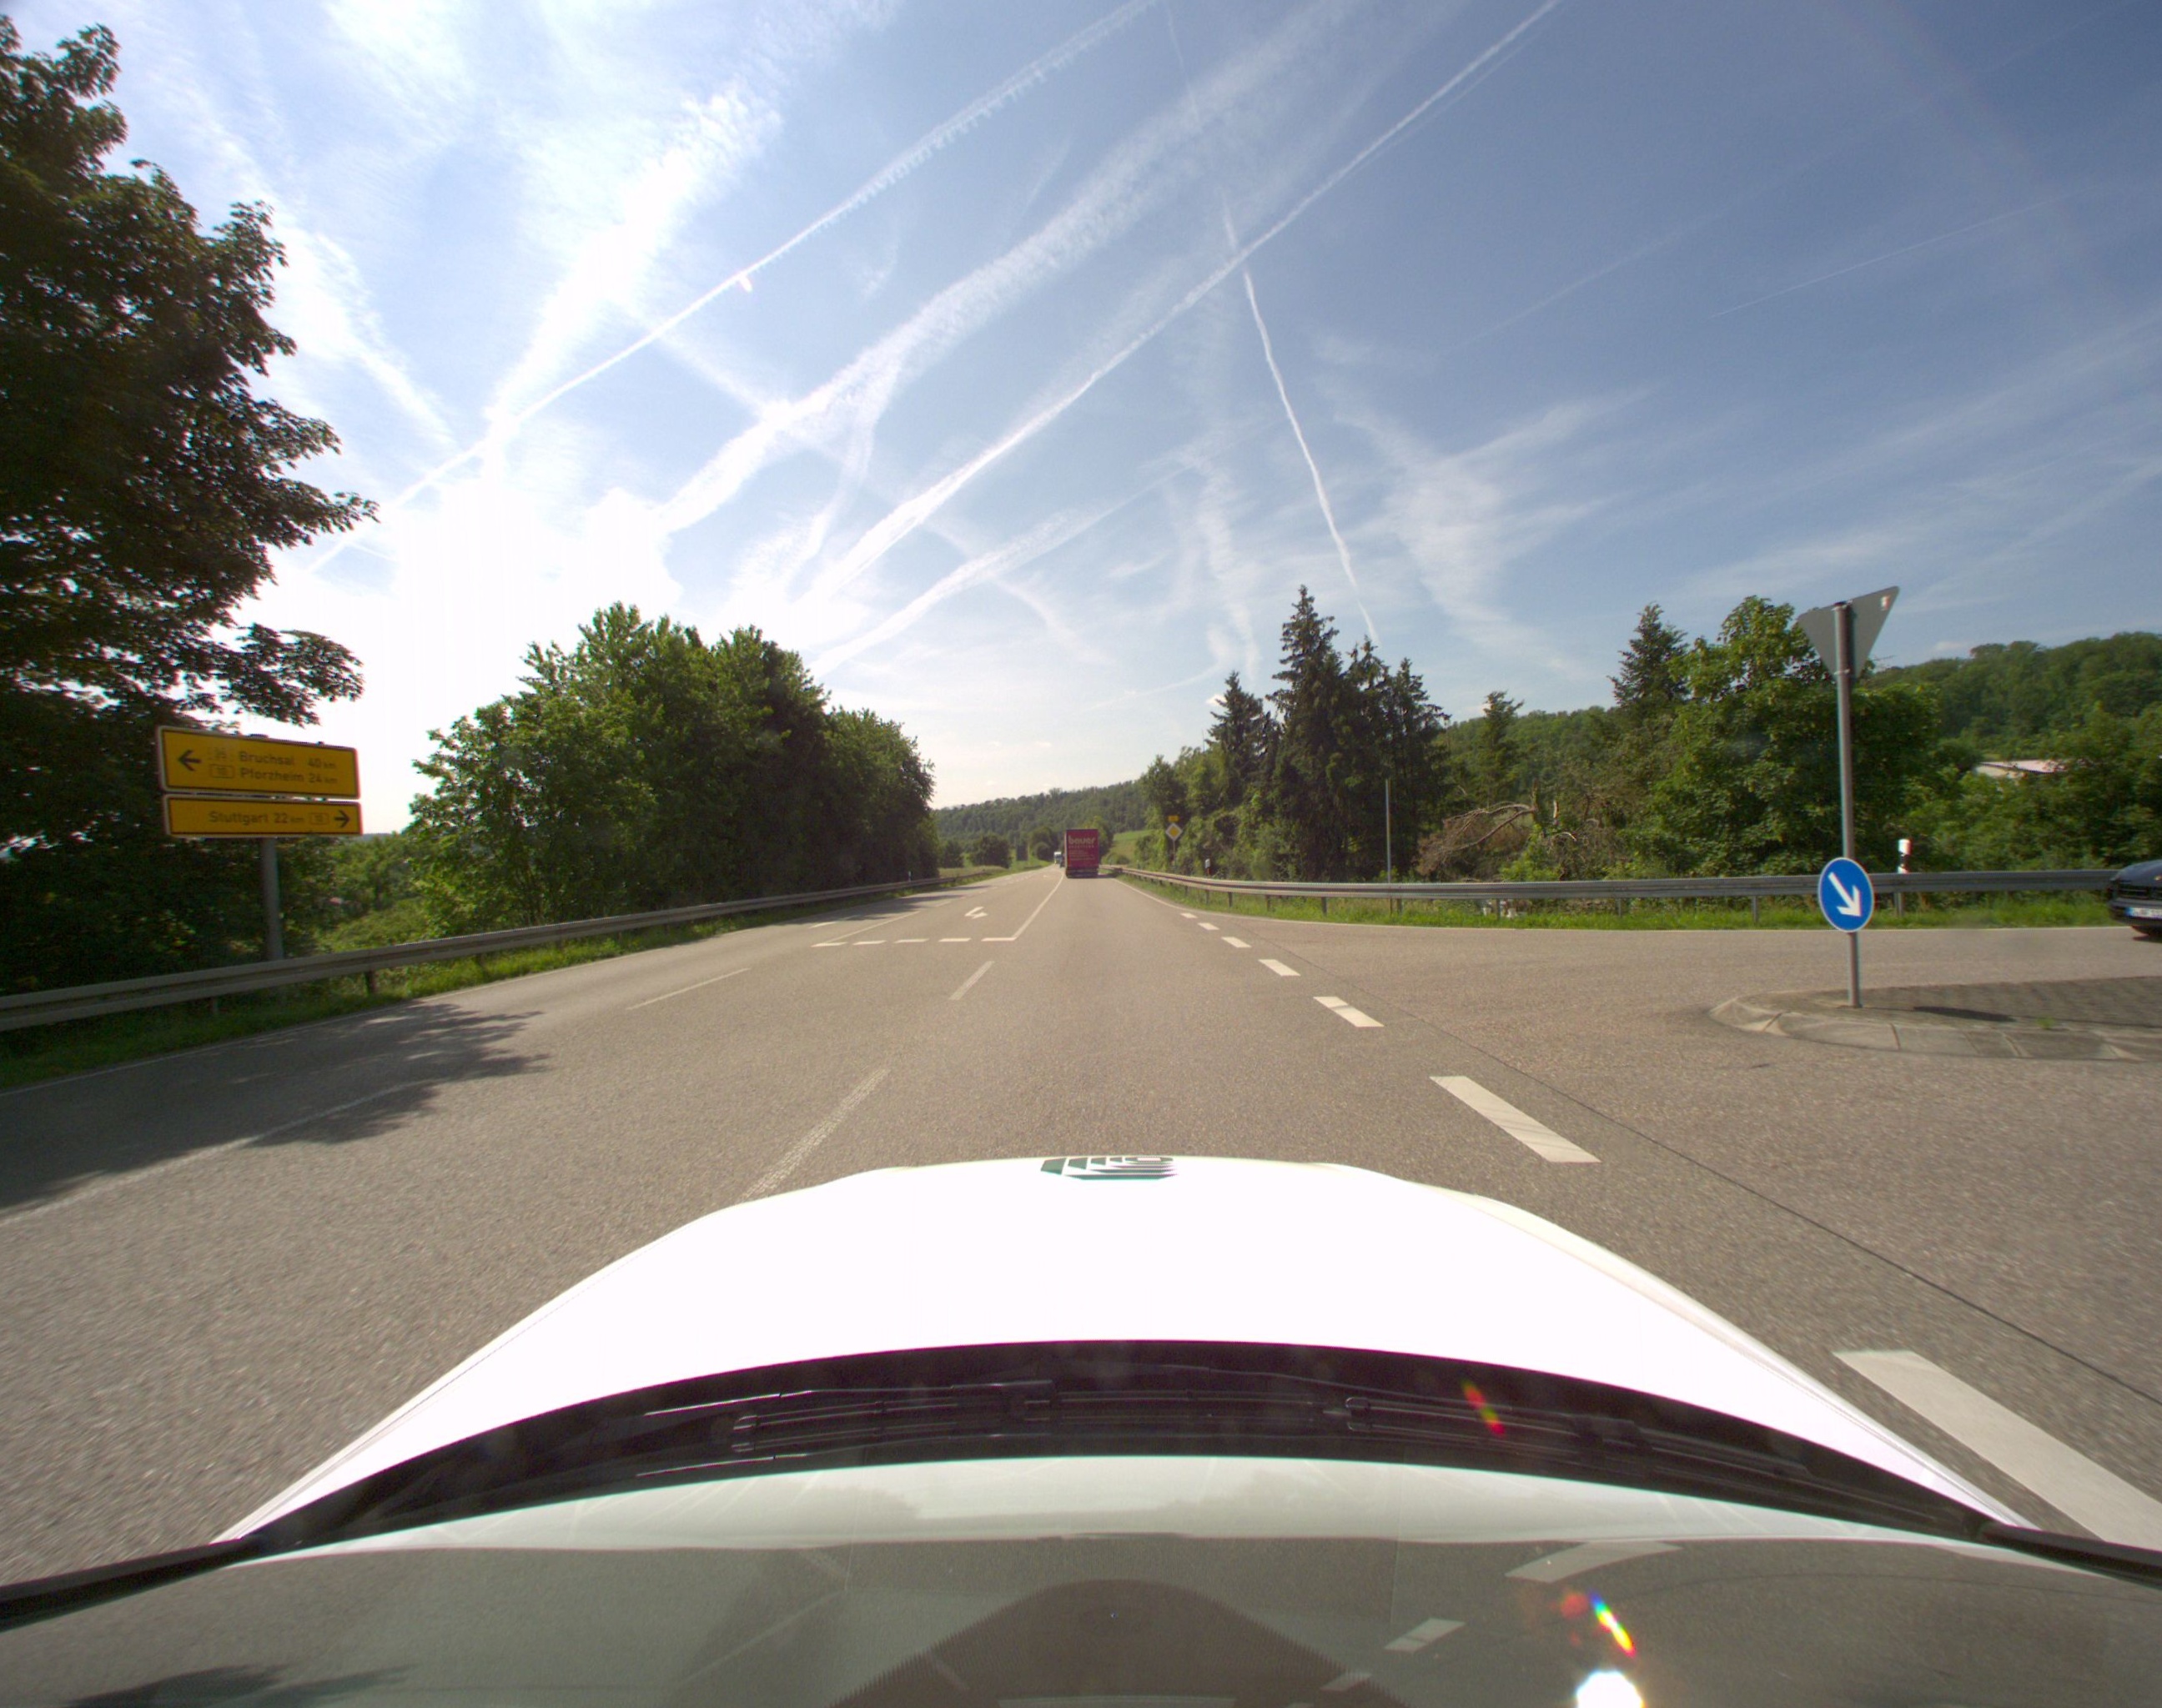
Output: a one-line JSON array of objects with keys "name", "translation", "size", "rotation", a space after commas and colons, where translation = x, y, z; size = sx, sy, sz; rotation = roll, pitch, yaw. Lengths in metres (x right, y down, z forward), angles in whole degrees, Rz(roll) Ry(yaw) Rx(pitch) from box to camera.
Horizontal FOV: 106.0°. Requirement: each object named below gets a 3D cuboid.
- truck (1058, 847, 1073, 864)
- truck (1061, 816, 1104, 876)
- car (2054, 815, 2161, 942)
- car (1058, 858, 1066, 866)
[{"name": "truck", "translation": [-4.145, 0.503, 216.669], "size": [3.894, 4.370, 13.284], "rotation": [0, -1, -1]}, {"name": "truck", "translation": [0.000, -0.598, 70.528], "size": [3.163, 4.625, 13.537], "rotation": [-2, 0, -1]}, {"name": "car", "translation": [15.705, 0.236, 10.073], "size": [4.387, 1.590, 2.070], "rotation": [-2, 0, 10]}, {"name": "car", "translation": [-4.334, 1.834, 185.316], "size": [1.988, 1.810, 3.997], "rotation": [1, -1, -2]}]
